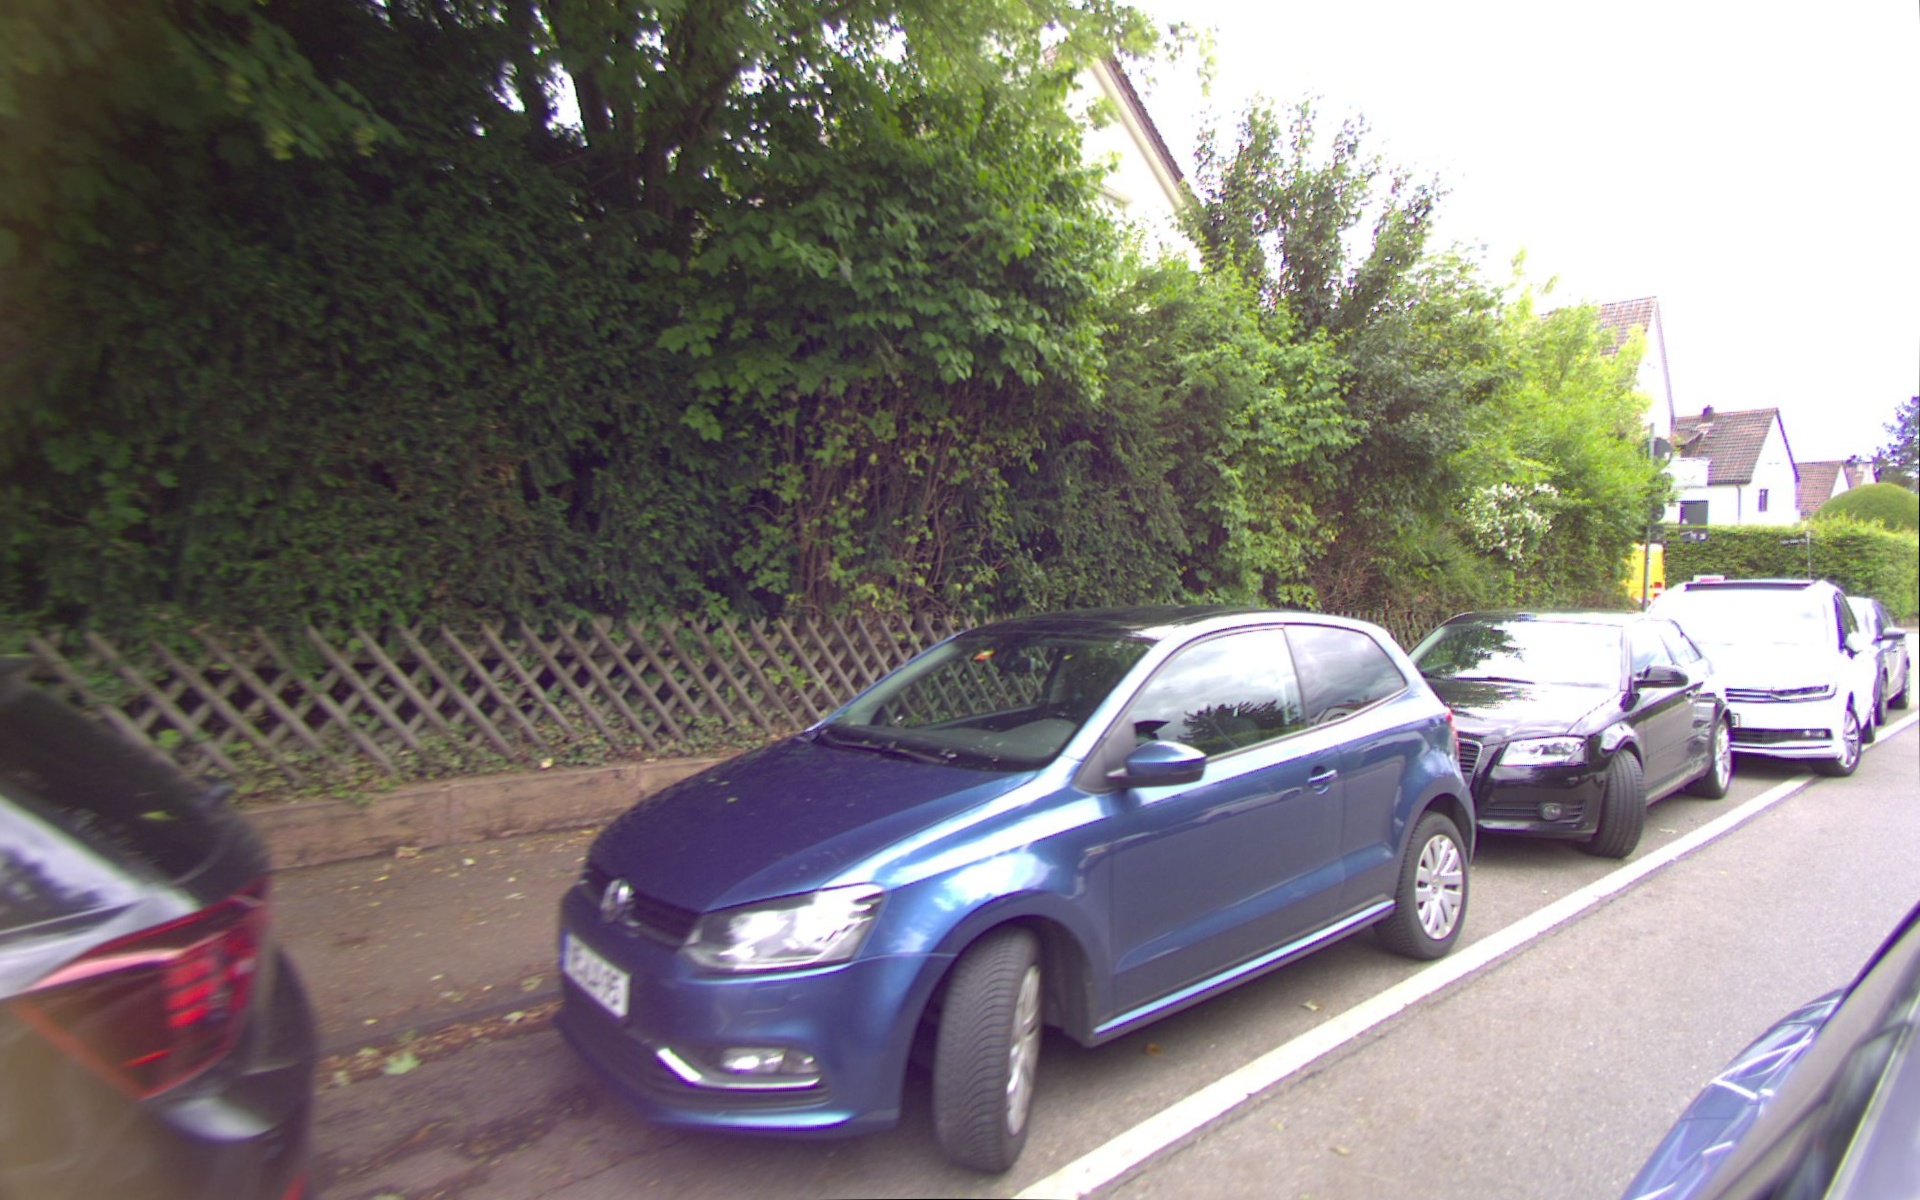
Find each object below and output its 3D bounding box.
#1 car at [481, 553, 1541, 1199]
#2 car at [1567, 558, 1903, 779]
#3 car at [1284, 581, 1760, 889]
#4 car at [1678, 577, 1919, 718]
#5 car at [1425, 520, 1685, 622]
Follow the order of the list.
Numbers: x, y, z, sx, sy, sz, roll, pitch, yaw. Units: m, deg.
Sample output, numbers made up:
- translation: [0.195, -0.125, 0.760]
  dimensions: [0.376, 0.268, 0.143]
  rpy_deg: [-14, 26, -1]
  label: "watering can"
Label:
- translation: [0.546, 0.658, 3.943]
  dimensions: [4.086, 1.527, 1.701]
  rpy_deg: [0, 0, -40]
  label: "car"
- translation: [7.822, 0.471, 10.012]
  dimensions: [2.002, 1.628, 4.681]
  rpy_deg: [4, 3, 45]
  label: "car"
- translation: [4.198, 0.635, 7.196]
  dimensions: [4.307, 1.470, 1.811]
  rpy_deg: [-1, 3, -45]
  label: "car"
- translation: [11.306, 0.504, 13.421]
  dimensions: [4.379, 1.510, 1.941]
  rpy_deg: [0, 3, -42]
  label: "car"
- translation: [16.881, -0.898, 28.976]
  dimensions: [6.103, 2.633, 2.339]
  rpy_deg: [3, 2, 34]
  label: "car"
